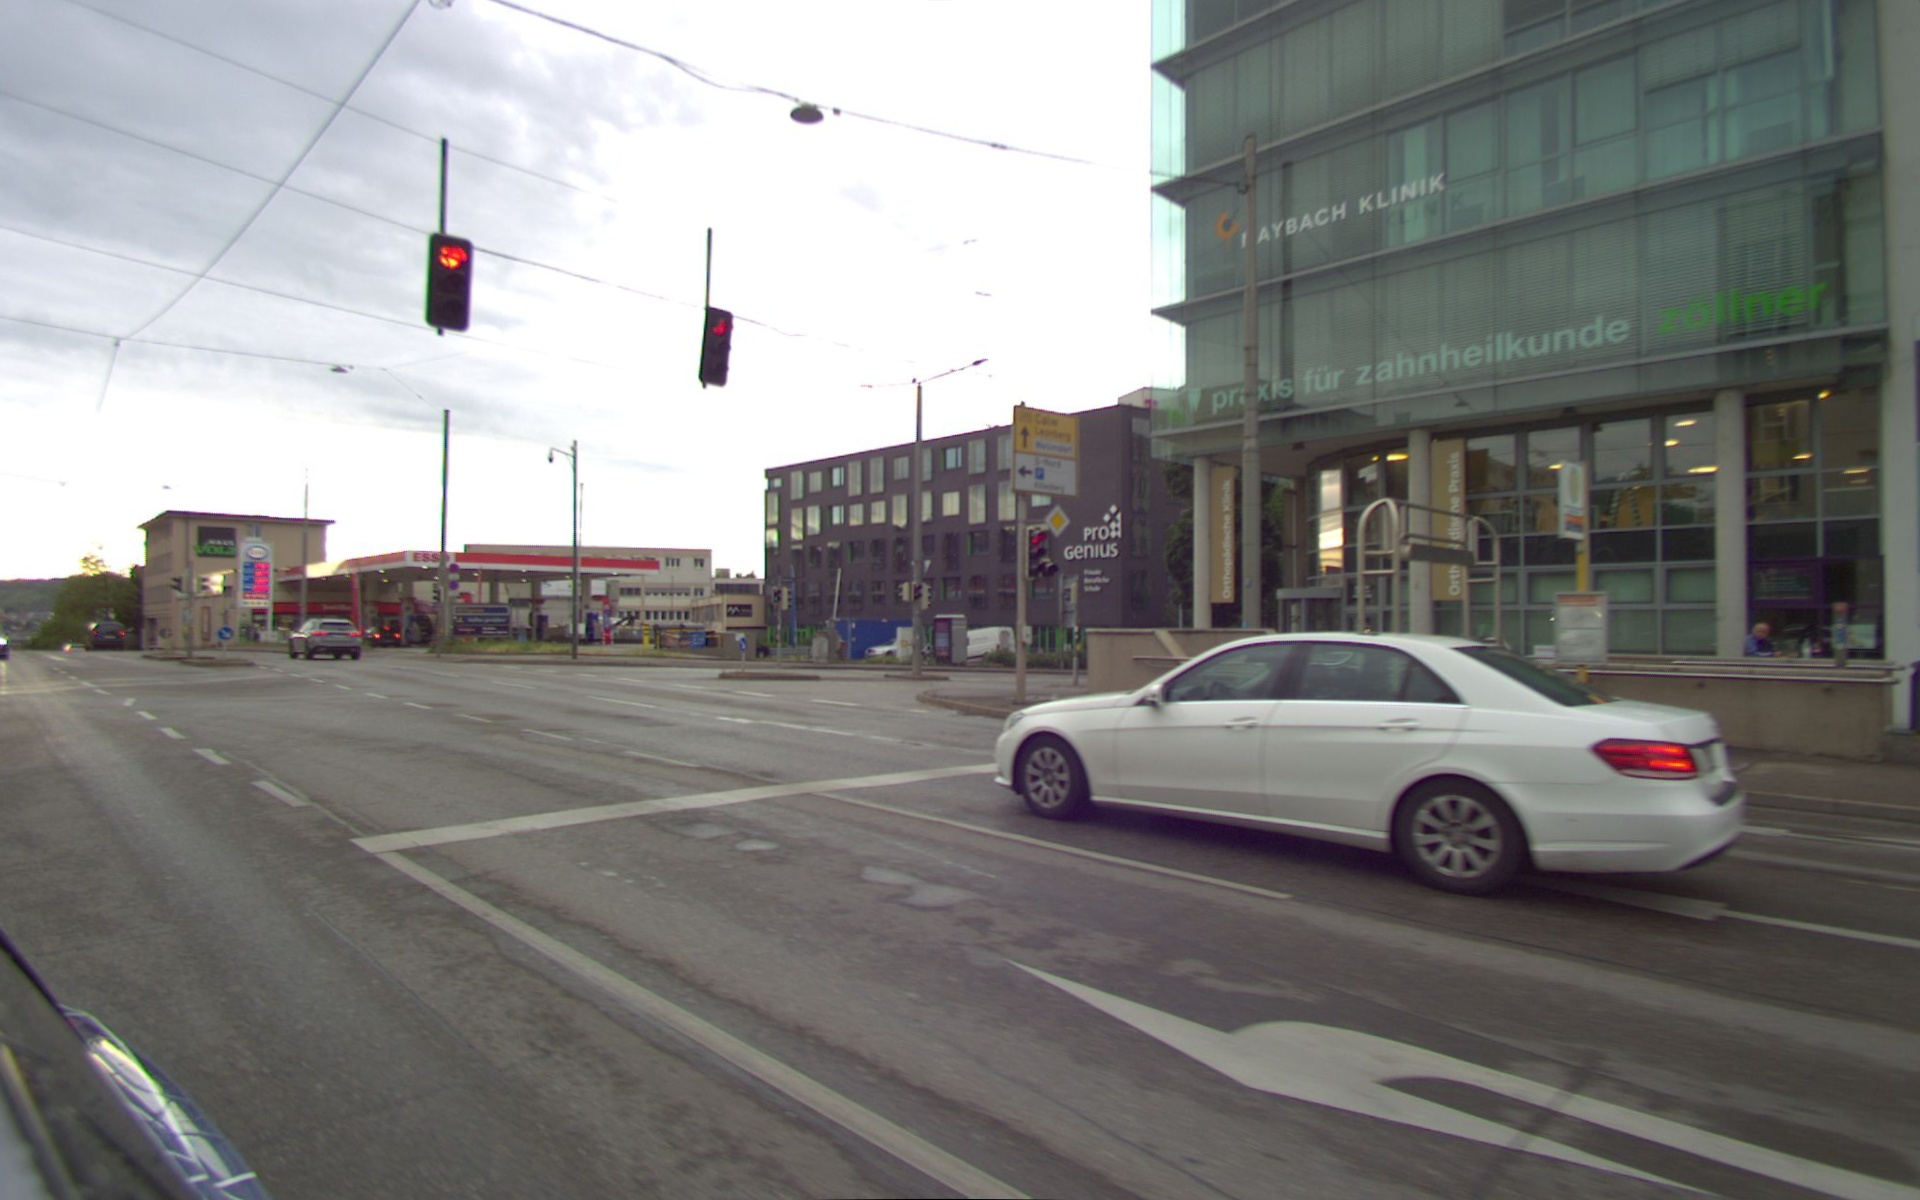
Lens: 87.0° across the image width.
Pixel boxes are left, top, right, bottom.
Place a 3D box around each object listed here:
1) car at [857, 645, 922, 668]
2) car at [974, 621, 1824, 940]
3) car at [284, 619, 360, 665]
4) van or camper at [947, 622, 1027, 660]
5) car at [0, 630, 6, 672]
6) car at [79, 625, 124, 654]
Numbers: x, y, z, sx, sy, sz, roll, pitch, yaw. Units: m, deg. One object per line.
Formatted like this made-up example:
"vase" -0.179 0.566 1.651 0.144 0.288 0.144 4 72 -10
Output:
"car" -4.609 3.754 66.556 3.938 1.298 1.805 5 -3 -41
"car" 2.508 0.856 6.841 4.964 1.397 1.797 -1 -3 44
"car" -26.053 1.690 41.275 1.885 1.644 4.216 5 -3 -41
"van or camper" 1.916 2.975 73.762 5.350 2.386 2.699 1 -3 45
"car" -37.016 1.905 37.738 4.264 1.537 1.937 -2 -2 44
"car" -55.392 2.541 65.283 1.831 1.782 4.133 5 -4 -45
